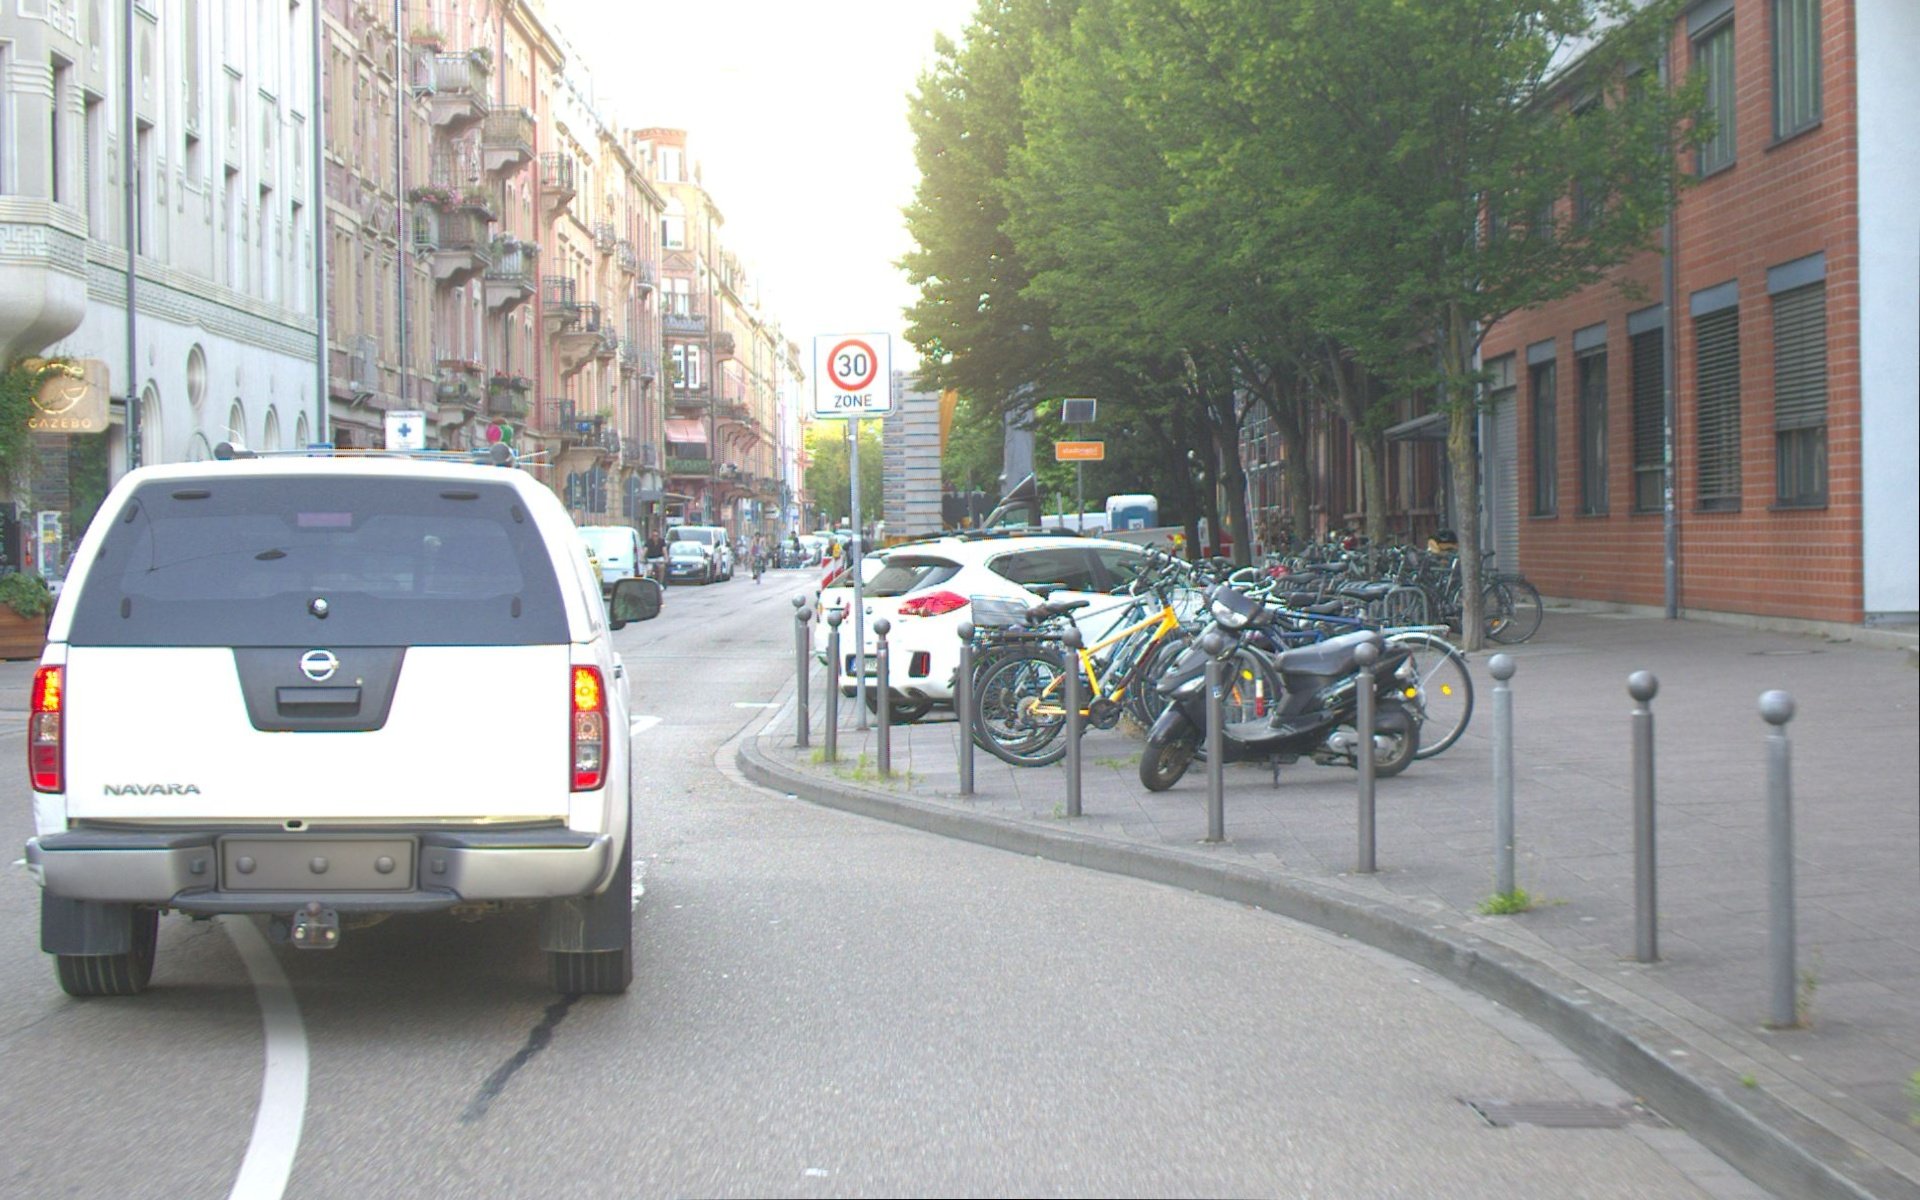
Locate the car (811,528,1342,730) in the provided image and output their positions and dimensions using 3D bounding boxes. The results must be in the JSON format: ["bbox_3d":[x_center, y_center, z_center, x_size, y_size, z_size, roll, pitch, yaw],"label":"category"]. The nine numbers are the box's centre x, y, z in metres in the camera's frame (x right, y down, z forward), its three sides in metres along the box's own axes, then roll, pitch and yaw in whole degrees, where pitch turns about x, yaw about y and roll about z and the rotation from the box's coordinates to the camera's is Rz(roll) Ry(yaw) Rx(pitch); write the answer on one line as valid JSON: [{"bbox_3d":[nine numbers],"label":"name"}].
[{"bbox_3d":[0.968,0.198,28.110,3.987,1.501,1.770,-1,1,-30],"label":"car"}]

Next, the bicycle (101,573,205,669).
[{"bbox_3d":[-9.136,0.222,38.985,0.423,1.009,1.717,0,2,13],"label":"bicycle"}]

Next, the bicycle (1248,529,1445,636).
[{"bbox_3d":[5.095,-0.233,45.379,2.534,1.375,0.599,-1,1,2],"label":"bicycle"}]

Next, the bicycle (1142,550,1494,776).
[{"bbox_3d":[2.023,0.347,19.576,1.859,1.142,0.659,-4,1,-1],"label":"bicycle"}]

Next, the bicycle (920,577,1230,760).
[{"bbox_3d":[0.708,0.418,21.365,1.857,1.035,0.472,-3,1,-2],"label":"bicycle"}]

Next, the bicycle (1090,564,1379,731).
[{"bbox_3d":[1.897,0.323,23.870,1.911,1.062,0.524,-3,1,-2],"label":"bicycle"}]

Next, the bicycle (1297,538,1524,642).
[{"bbox_3d":[5.178,-0.118,39.584,2.534,1.162,0.562,-1,1,2],"label":"bicycle"}]

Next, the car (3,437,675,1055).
[{"bbox_3d":[-2.054,0.386,12.343,1.933,1.788,4.623,0,1,-6],"label":"car"}]

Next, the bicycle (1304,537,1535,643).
[{"bbox_3d":[5.201,-0.114,38.973,2.534,1.162,0.562,-1,1,2],"label":"bicycle"}]

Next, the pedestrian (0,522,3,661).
[{"bbox_3d":[-11.914,-0.093,41.231,0.614,1.669,0.568,0,1,22],"label":"pedestrian"}]

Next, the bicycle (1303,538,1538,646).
[{"bbox_3d":[5.124,-0.094,38.343,2.534,1.162,0.562,-1,1,2],"label":"bicycle"}]

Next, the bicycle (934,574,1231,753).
[{"bbox_3d":[0.788,0.406,22.347,1.857,1.062,0.446,-3,1,-2],"label":"bicycle"}]

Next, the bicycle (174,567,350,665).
[{"bbox_3d":[-8.154,0.182,40.149,2.113,1.091,0.500,1,2,24],"label":"bicycle"}]

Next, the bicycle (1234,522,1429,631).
[{"bbox_3d":[5.128,-0.330,47.507,2.534,1.240,0.599,-6,1,2],"label":"bicycle"}]

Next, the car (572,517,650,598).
[{"bbox_3d":[-8.529,-1.053,84.224,1.559,1.914,3.856,1,1,-1],"label":"car"}]

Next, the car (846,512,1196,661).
[{"bbox_3d":[0.706,-0.177,38.851,3.594,1.575,1.716,-2,1,-33],"label":"car"}]

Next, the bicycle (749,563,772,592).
[{"bbox_3d":[-6.880,-0.781,118.603,0.800,0.944,2.005,0,1,-3],"label":"bicycle"}]

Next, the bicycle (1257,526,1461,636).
[{"bbox_3d":[5.092,-0.245,43.913,2.534,1.375,0.599,-1,1,2],"label":"bicycle"}]

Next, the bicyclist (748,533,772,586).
[{"bbox_3d":[-6.890,-1.397,118.624,0.800,1.843,0.944,0,1,-3],"label":"bicyclist"}]

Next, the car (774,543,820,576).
[{"bbox_3d":[-7.872,-1.950,166.349,1.847,1.546,4.355,0,1,2],"label":"car"}]

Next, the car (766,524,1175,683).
[{"bbox_3d":[0.131,-0.004,35.897,3.987,1.532,1.636,-2,2,-31],"label":"car"}]

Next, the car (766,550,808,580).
[{"bbox_3d":[-9.134,-1.844,181.759,1.847,1.546,4.355,0,1,3],"label":"car"}]

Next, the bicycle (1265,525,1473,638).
[{"bbox_3d":[5.126,-0.234,43.198,2.534,1.375,0.599,-1,1,2],"label":"bicycle"}]

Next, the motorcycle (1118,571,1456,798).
[{"bbox_3d":[1.743,0.437,18.419,1.644,1.098,0.647,-3,1,-9],"label":"motorcycle"}]

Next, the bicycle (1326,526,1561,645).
[{"bbox_3d":[5.120,-0.156,36.481,2.346,1.095,0.680,-4,1,2],"label":"bicycle"}]

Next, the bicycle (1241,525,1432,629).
[{"bbox_3d":[5.119,-0.320,46.798,2.534,1.375,0.599,-1,1,2],"label":"bicycle"}]

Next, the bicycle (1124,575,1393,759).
[{"bbox_3d":[1.805,0.400,20.875,1.539,1.035,0.472,-3,1,-2],"label":"bicycle"}]

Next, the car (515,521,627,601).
[{"bbox_3d":[-8.253,-0.842,73.205,1.993,1.647,4.000,0,1,-1],"label":"car"}]

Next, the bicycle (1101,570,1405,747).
[{"bbox_3d":[1.862,0.368,21.937,1.857,1.035,0.402,-3,1,-2],"label":"bicycle"}]

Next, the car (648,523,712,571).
[{"bbox_3d":[-9.211,-1.756,113.370,1.791,1.525,4.000,0,1,0],"label":"car"}]

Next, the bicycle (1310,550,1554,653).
[{"bbox_3d":[5.162,0.014,37.691,2.534,0.956,0.680,-4,1,2],"label":"bicycle"}]

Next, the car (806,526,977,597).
[{"bbox_3d":[-1.746,-0.998,88.411,4.196,1.774,1.819,0,1,5],"label":"car"}]

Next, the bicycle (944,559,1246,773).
[{"bbox_3d":[0.789,0.379,20.302,1.707,1.172,0.472,-3,1,-2],"label":"bicycle"}]

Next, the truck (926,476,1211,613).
[{"bbox_3d":[2.436,-1.227,77.649,6.320,2.966,2.264,0,-2,1],"label":"truck"}]

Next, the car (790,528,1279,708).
[{"bbox_3d":[0.692,0.144,30.811,3.987,1.468,1.875,-2,0,-33],"label":"car"}]

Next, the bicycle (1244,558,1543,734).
[{"bbox_3d":[2.856,0.295,22.713,1.857,1.062,0.524,-3,1,-2],"label":"bicycle"}]

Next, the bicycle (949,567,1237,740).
[{"bbox_3d":[0.884,0.354,23.017,1.857,1.062,0.446,-3,1,-2],"label":"bicycle"}]

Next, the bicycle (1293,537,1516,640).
[{"bbox_3d":[5.186,-0.133,40.195,2.534,1.162,0.562,-1,1,2],"label":"bicycle"}]

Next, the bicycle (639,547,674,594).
[{"bbox_3d":[-6.881,-0.672,78.001,0.614,1.036,1.904,-1,1,-1],"label":"bicycle"}]

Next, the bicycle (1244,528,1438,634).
[{"bbox_3d":[5.100,-0.261,46.077,2.534,1.375,0.599,-1,1,2],"label":"bicycle"}]

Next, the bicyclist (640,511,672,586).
[{"bbox_3d":[-6.890,-1.177,77.969,0.603,1.679,1.142,-1,1,0],"label":"bicyclist"}]

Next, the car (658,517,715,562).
[{"bbox_3d":[-9.542,-2.121,120.255,1.710,1.525,4.000,0,1,-1],"label":"car"}]

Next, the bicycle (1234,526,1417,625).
[{"bbox_3d":[5.180,-0.350,48.850,2.534,1.375,0.599,-1,1,2],"label":"bicycle"}]

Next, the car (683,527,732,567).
[{"bbox_3d":[-10.062,-2.126,136.978,1.846,1.546,4.356,0,1,-3],"label":"car"}]
